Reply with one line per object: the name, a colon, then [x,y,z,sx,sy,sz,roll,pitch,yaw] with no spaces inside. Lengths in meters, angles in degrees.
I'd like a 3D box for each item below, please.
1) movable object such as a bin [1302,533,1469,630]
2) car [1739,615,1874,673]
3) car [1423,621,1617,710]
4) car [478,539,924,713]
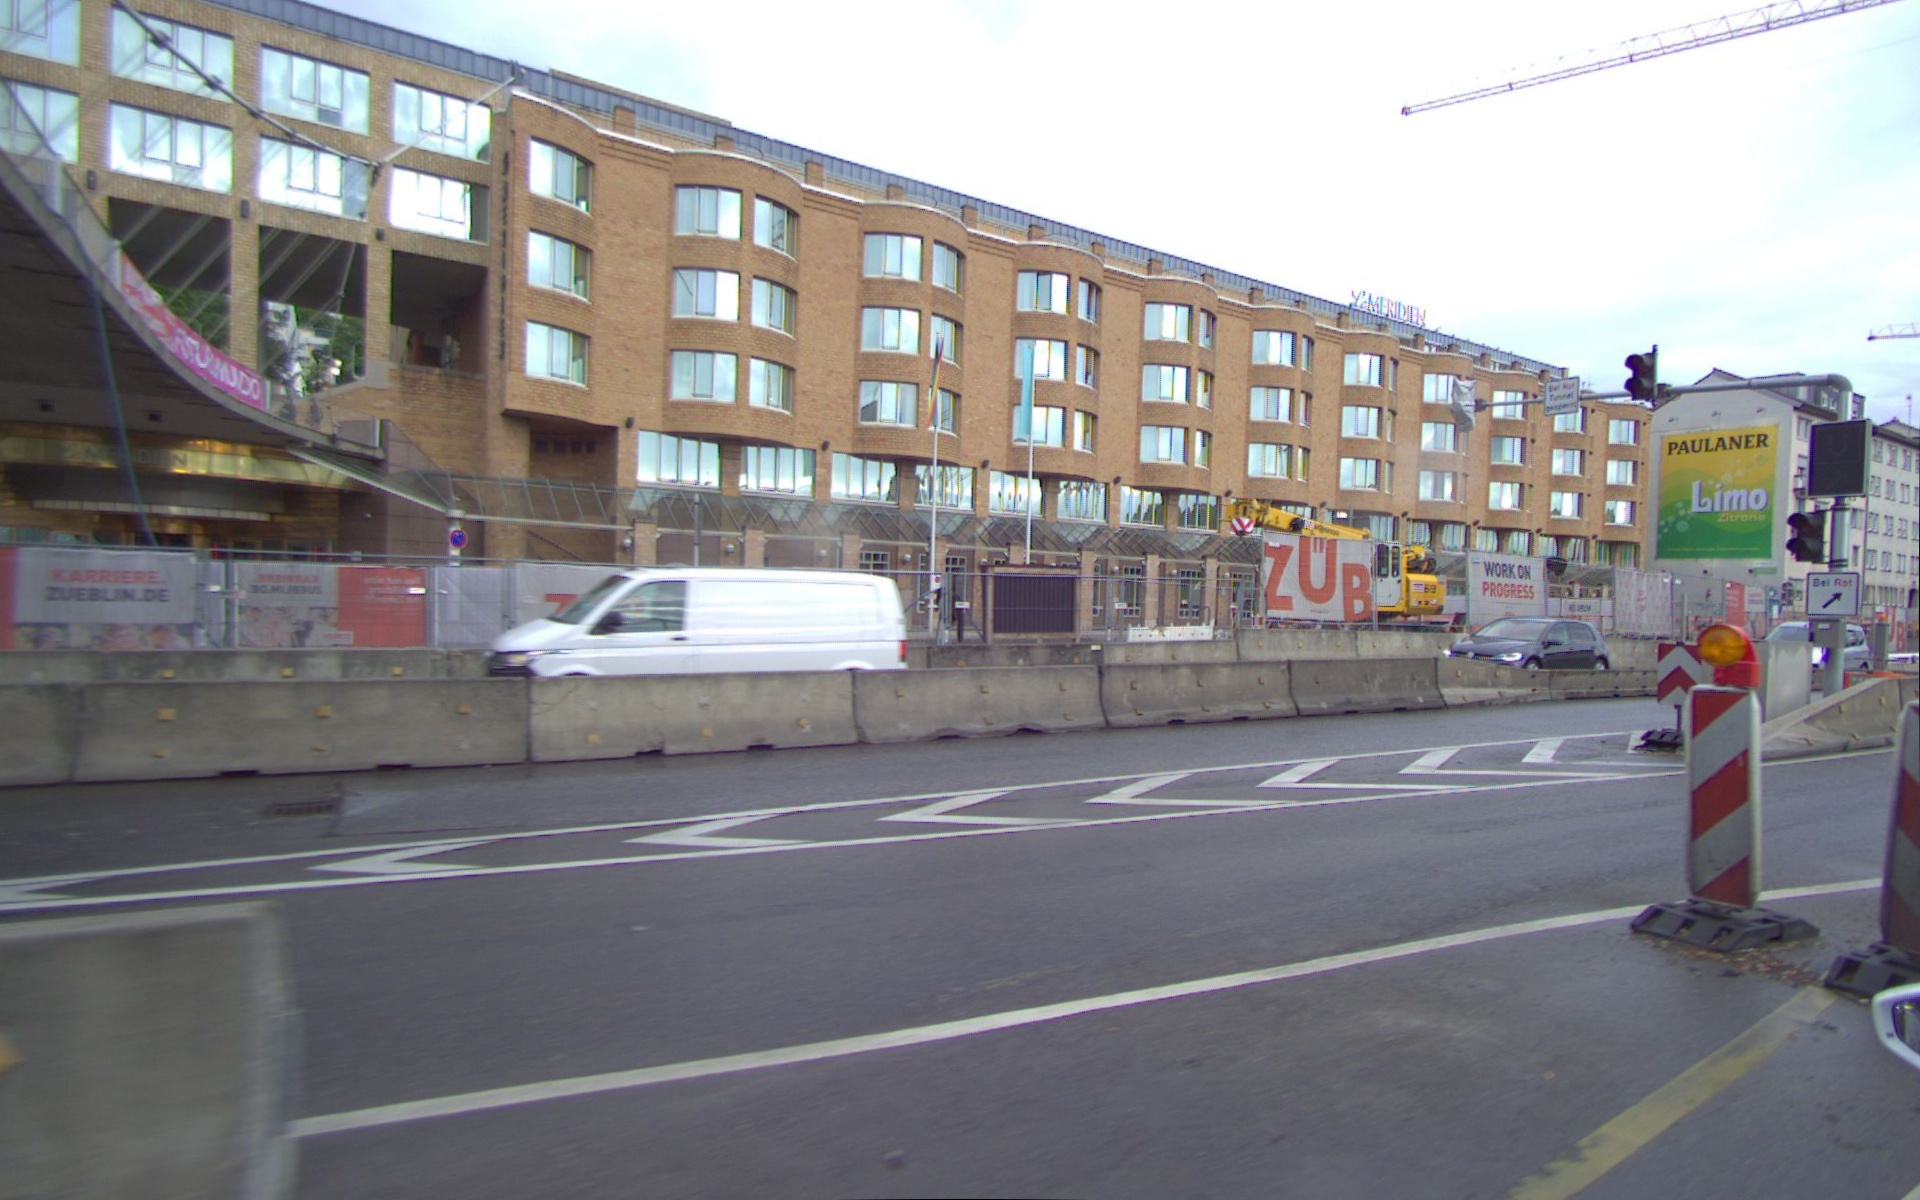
movable object such as a bin: [11.117,-0.386,26.175,4.249,2.307,2.014,1,-3,-35]
car: [25.084,1.270,29.731,4.472,1.570,1.737,1,0,-32]
car: [11.932,1.313,21.374,3.985,1.645,1.798,0,1,-29]
car: [-3.183,0.269,12.790,5.237,1.846,1.797,0,1,-30]
